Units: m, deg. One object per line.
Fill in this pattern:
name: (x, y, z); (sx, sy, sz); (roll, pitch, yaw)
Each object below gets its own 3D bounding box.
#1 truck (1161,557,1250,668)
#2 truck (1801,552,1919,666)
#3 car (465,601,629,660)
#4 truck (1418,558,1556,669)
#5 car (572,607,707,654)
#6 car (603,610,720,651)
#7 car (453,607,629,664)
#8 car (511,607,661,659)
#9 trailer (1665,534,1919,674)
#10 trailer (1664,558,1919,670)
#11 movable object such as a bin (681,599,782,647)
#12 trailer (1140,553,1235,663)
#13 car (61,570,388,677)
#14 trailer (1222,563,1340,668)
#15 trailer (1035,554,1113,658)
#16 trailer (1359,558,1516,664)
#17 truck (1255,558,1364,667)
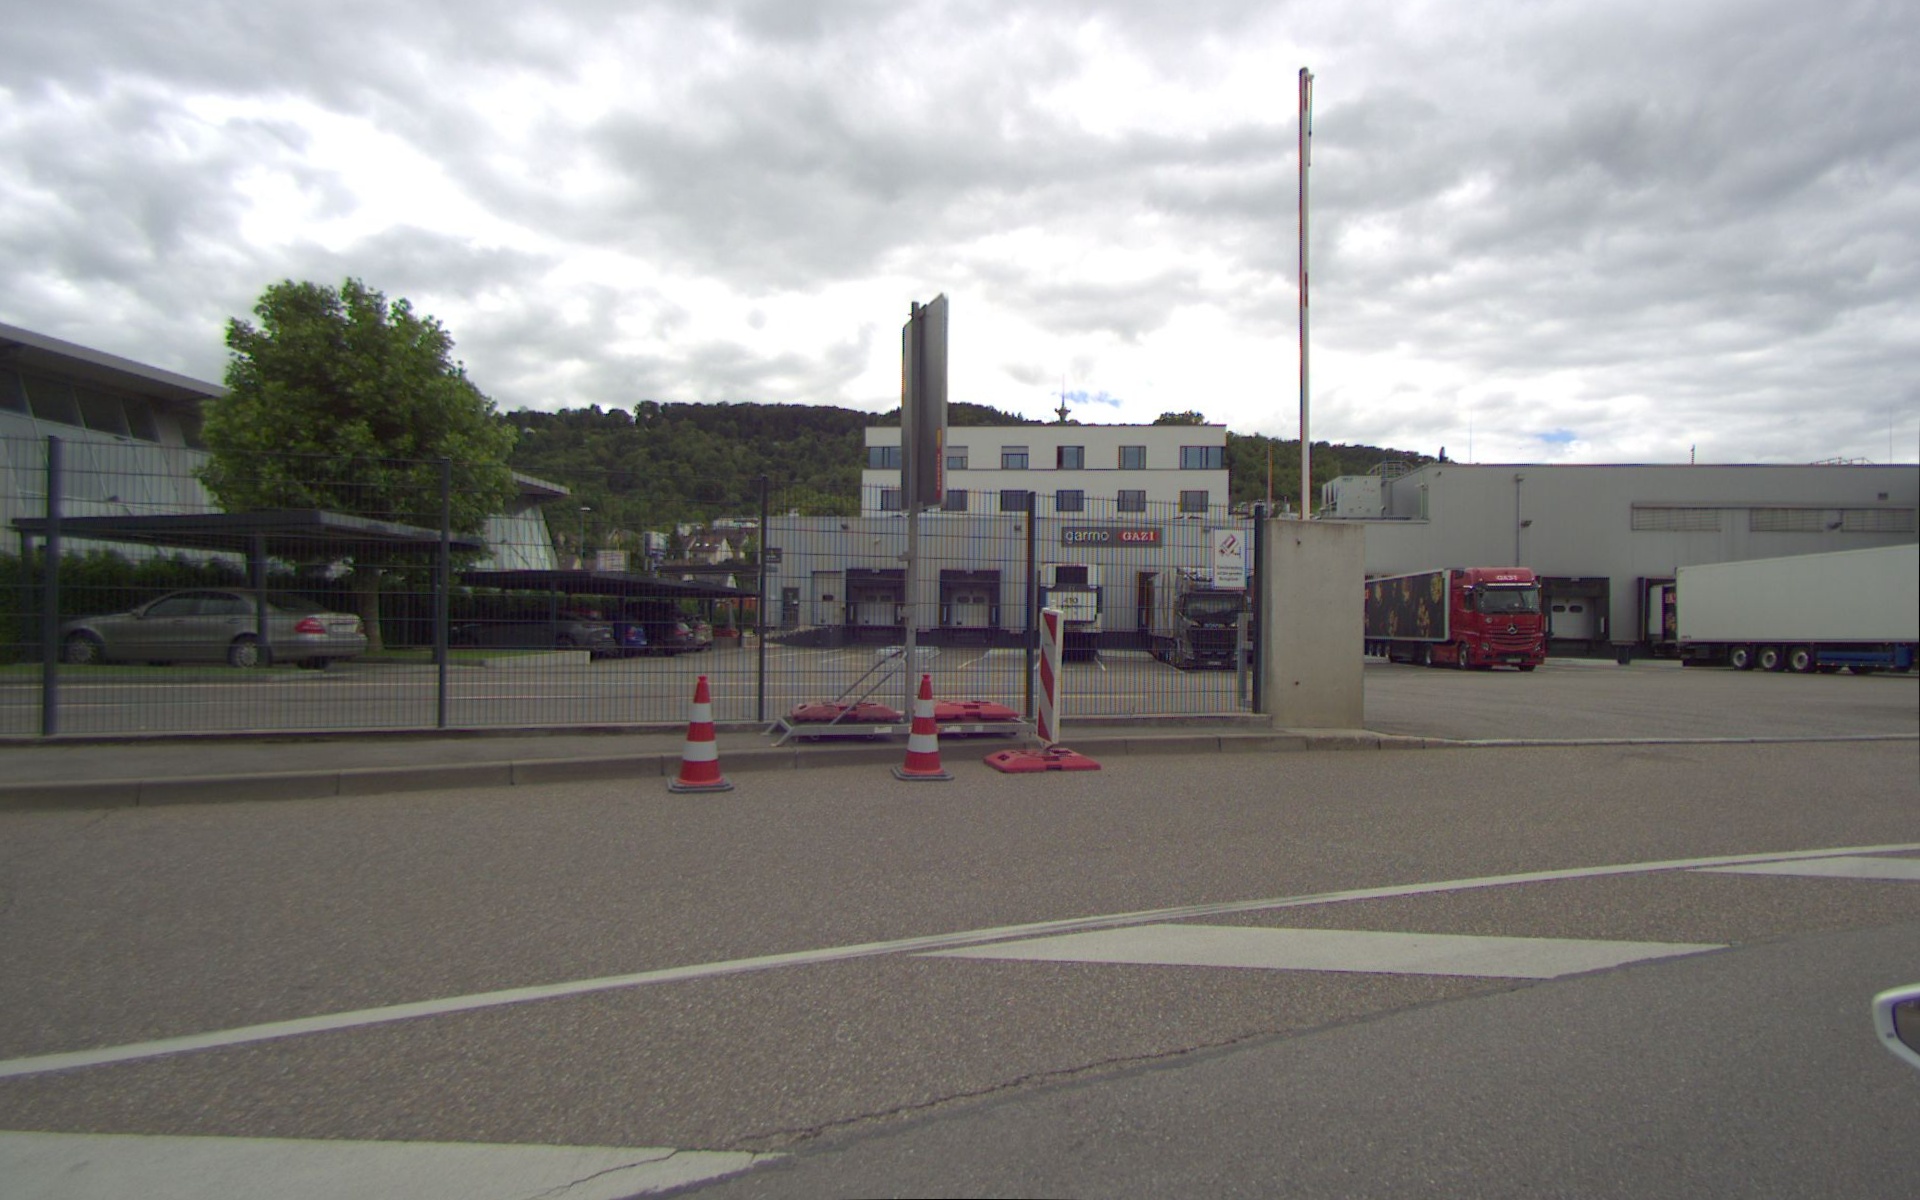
truck: (9.542, 0.495, 39.436); (2.745, 4.093, 4.168); (1, -1, 6)
truck: (35.366, 0.396, 37.953); (2.745, 3.980, 5.929); (1, -1, 7)
car: (-12.552, 0.927, 30.743); (4.164, 1.669, 1.968); (1, -1, 0)
truck: (20.474, 0.537, 39.435); (2.745, 3.980, 5.929); (1, -1, 6)
car: (-11.422, 1.089, 35.976); (4.164, 1.579, 1.968); (1, -1, 0)
car: (-12.152, 1.231, 41.121); (4.164, 1.579, 1.968); (1, -1, 0)
car: (-11.854, 0.990, 28.635); (4.164, 1.512, 1.968); (1, -1, 0)
car: (-12.235, 1.075, 33.056); (4.164, 1.579, 1.968); (1, -1, 0)
trailer: (30.280, 0.196, 33.631); (2.977, 4.239, 14.015); (1, -1, -3)
trailer: (36.107, 0.671, 44.054); (2.727, 4.162, 13.101); (1, -1, 7)
movable object such as a bin: (-11.236, 1.136, 49.613); (4.510, 2.255, 2.081); (1, -1, 0)
trailer: (10.172, 0.445, 46.104); (2.736, 4.358, 11.189); (1, -1, 5)
car: (-12.749, 0.410, 17.642); (4.164, 1.692, 2.074); (1, -1, 0)
trailer: (14.246, 0.743, 45.629); (2.736, 4.131, 11.003); (1, -1, 5)
trailer: (5.114, 0.379, 46.097); (3.029, 4.131, 11.416); (1, -1, 5)
trailer: (21.100, 0.554, 45.316); (2.736, 4.131, 11.003); (1, -1, 5)
truck: (13.830, 0.535, 40.184); (2.745, 3.980, 5.929); (1, -1, 6)
